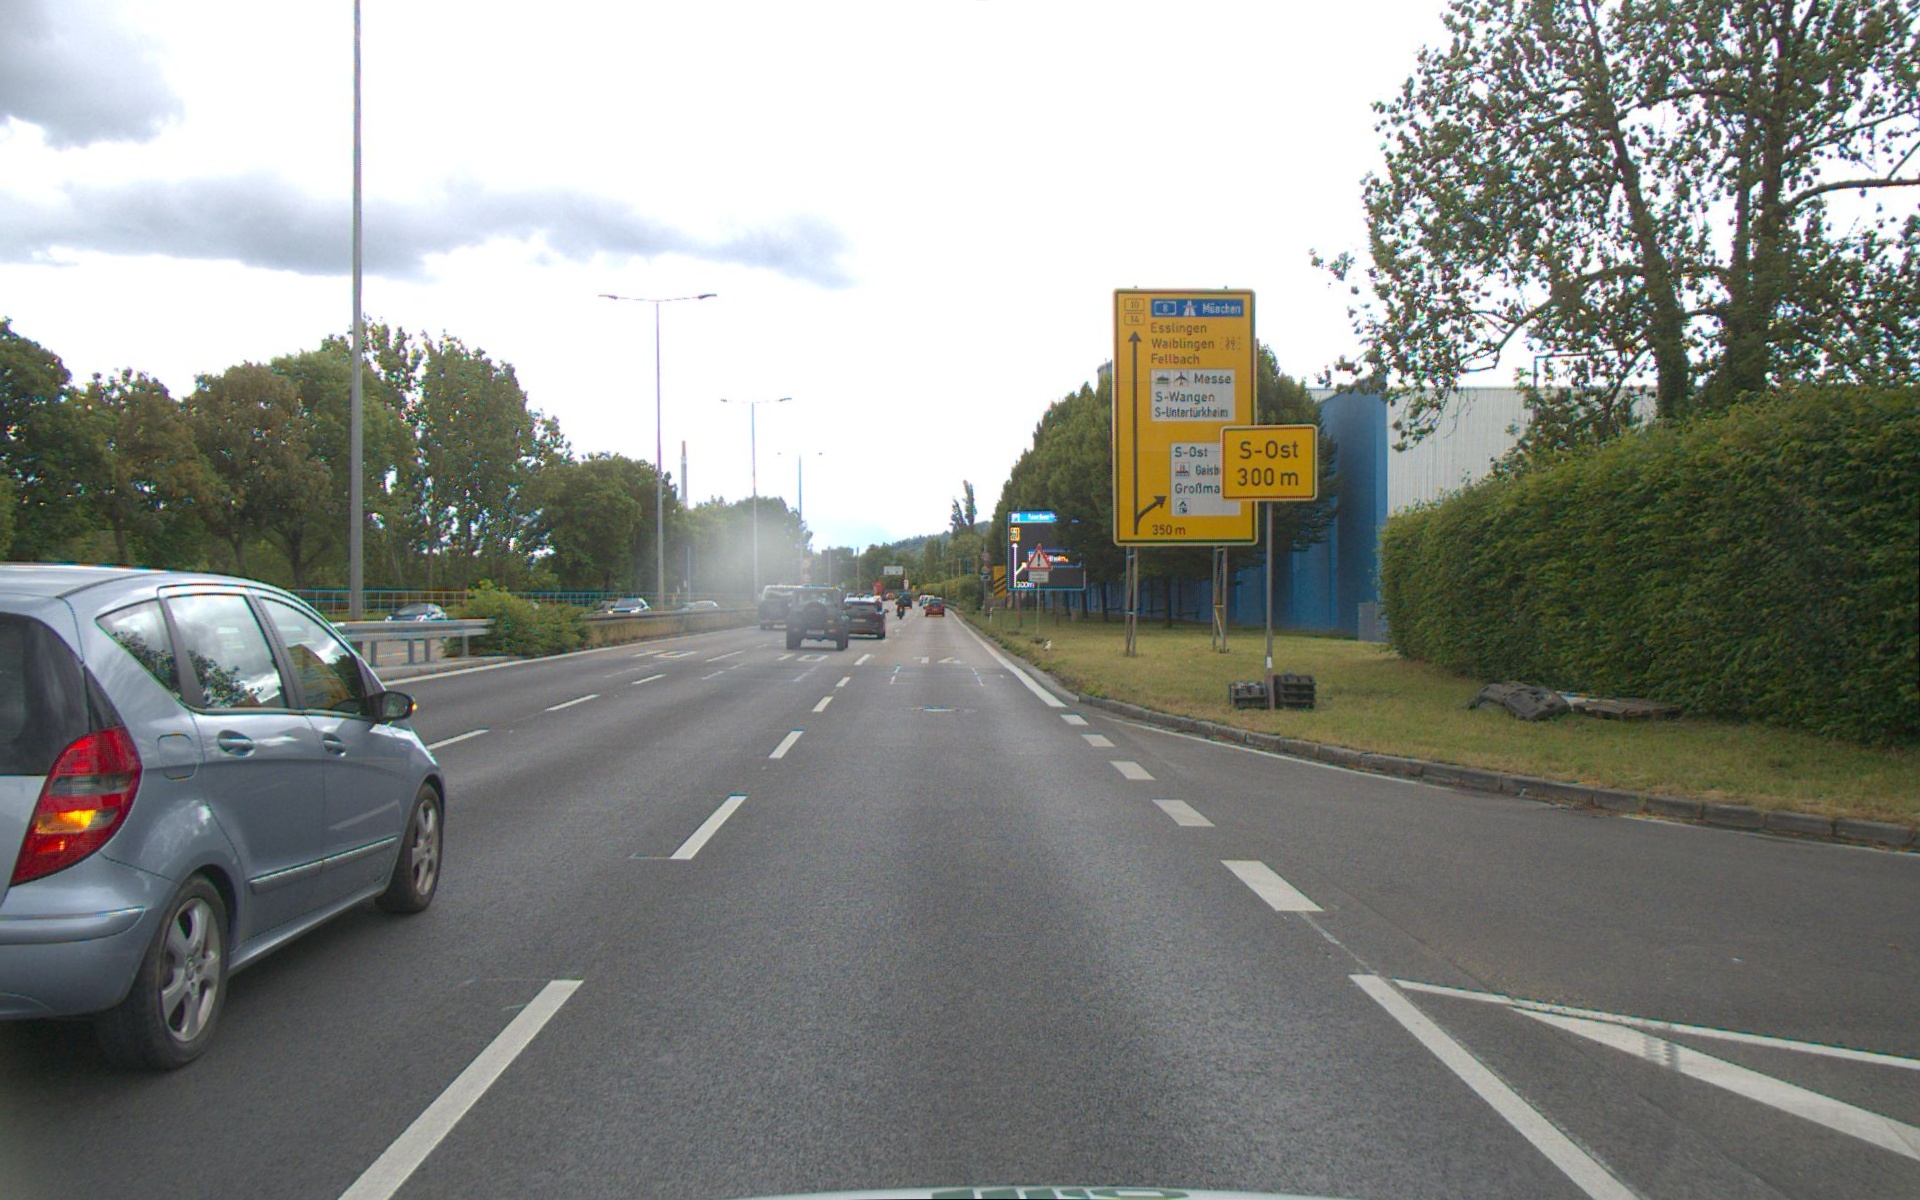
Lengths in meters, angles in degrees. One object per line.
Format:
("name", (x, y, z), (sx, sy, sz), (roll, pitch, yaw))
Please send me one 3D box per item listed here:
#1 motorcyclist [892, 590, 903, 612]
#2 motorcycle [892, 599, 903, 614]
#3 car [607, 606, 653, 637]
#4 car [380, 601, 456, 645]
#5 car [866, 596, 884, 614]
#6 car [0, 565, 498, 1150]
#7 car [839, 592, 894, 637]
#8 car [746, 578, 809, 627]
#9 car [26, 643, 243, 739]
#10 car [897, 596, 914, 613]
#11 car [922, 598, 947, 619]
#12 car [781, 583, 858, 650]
("motorcyclist", (-4.612, 0.069, 121.795), (0.671, 1.638, 0.845), (2, 0, 0))
("motorcycle", (-4.616, 0.497, 121.792), (0.692, 1.058, 2.027), (2, 1, 0))
("car", (-19.578, 1.248, 98.236), (1.953, 1.668, 3.999), (2, 1, -1))
("car", (-22.956, 0.947, 70.208), (1.953, 1.668, 3.999), (2, 1, -1))
("car", (-10.255, 0.552, 198.885), (1.953, 2.048, 3.999), (2, 1, -1))
("car", (-3.176, 0.668, 6.478), (1.676, 1.556, 3.999), (2, 1, -2))
("car", (-3.359, 0.494, 59.917), (1.803, 1.489, 3.999), (2, 1, -2))
("car", (-7.788, 0.087, 70.979), (2.170, 1.959, 5.001), (2, 1, -1))
("car", (-16.258, 1.743, 32.908), (1.953, 1.519, 4.804), (2, 1, -1))
("car", (-6.843, 0.548, 208.177), (1.953, 2.048, 3.999), (2, 1, -1))
("car", (-2.159, 0.723, 139.655), (1.954, 1.579, 3.998), (2, 1, -3))
("car", (-3.909, 0.431, 46.517), (1.869, 1.713, 3.999), (2, 1, -2))
